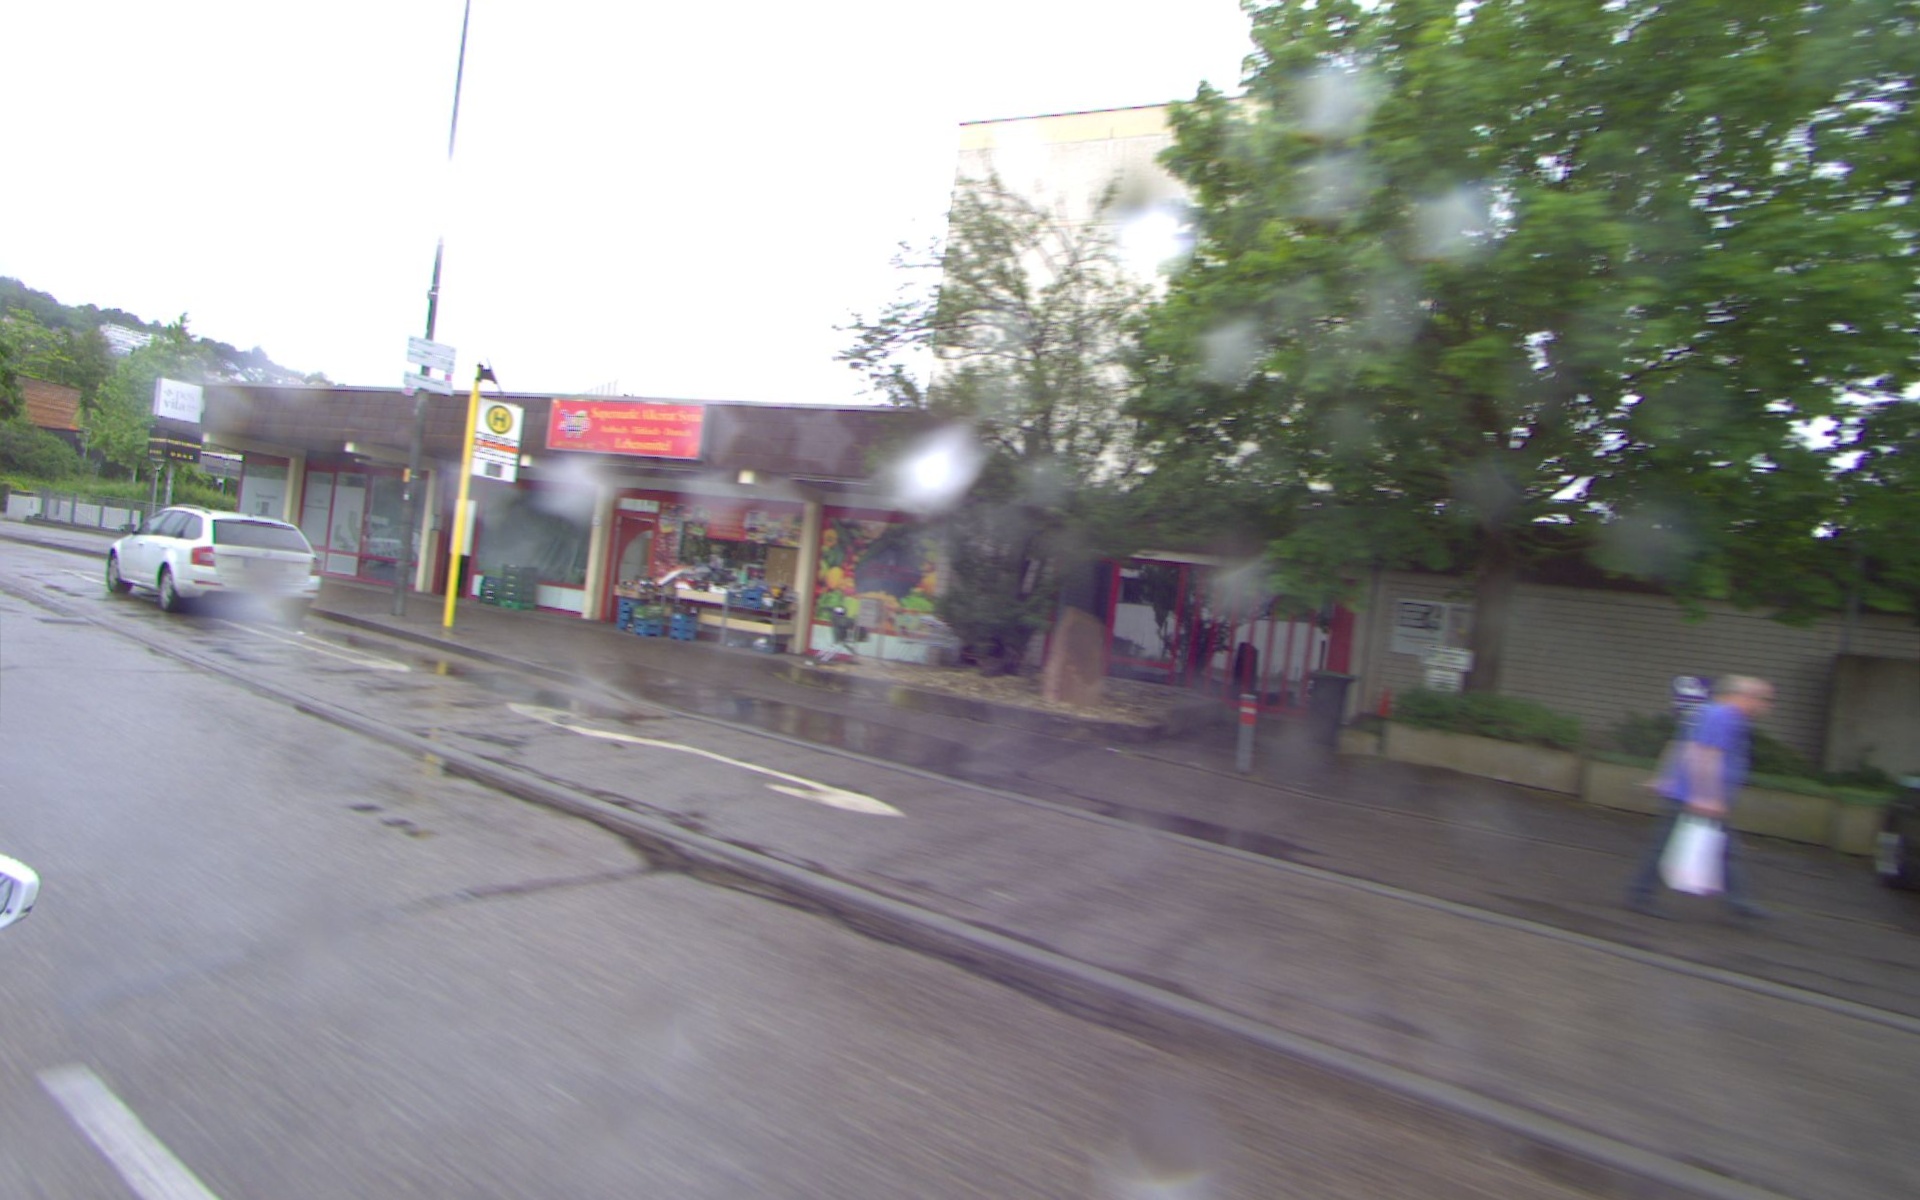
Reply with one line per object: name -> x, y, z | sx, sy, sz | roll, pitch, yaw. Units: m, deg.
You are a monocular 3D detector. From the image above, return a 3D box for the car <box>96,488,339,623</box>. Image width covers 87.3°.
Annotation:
car -> -11.273, -0.713, 15.157 | 4.412, 1.517, 1.729 | 8, 1, 38

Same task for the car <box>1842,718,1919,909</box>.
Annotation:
car -> 8.600, 1.854, 7.644 | 1.771, 1.472, 4.156 | 7, 0, 28

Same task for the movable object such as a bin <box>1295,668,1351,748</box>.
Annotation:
movable object such as a bin -> 5.433, 1.598, 15.046 | 0.629, 1.069, 0.645 | 8, 1, 25

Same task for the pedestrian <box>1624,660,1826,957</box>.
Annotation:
pedestrian -> 5.133, 1.337, 6.827 | 0.746, 1.759, 0.876 | 8, 2, 28
